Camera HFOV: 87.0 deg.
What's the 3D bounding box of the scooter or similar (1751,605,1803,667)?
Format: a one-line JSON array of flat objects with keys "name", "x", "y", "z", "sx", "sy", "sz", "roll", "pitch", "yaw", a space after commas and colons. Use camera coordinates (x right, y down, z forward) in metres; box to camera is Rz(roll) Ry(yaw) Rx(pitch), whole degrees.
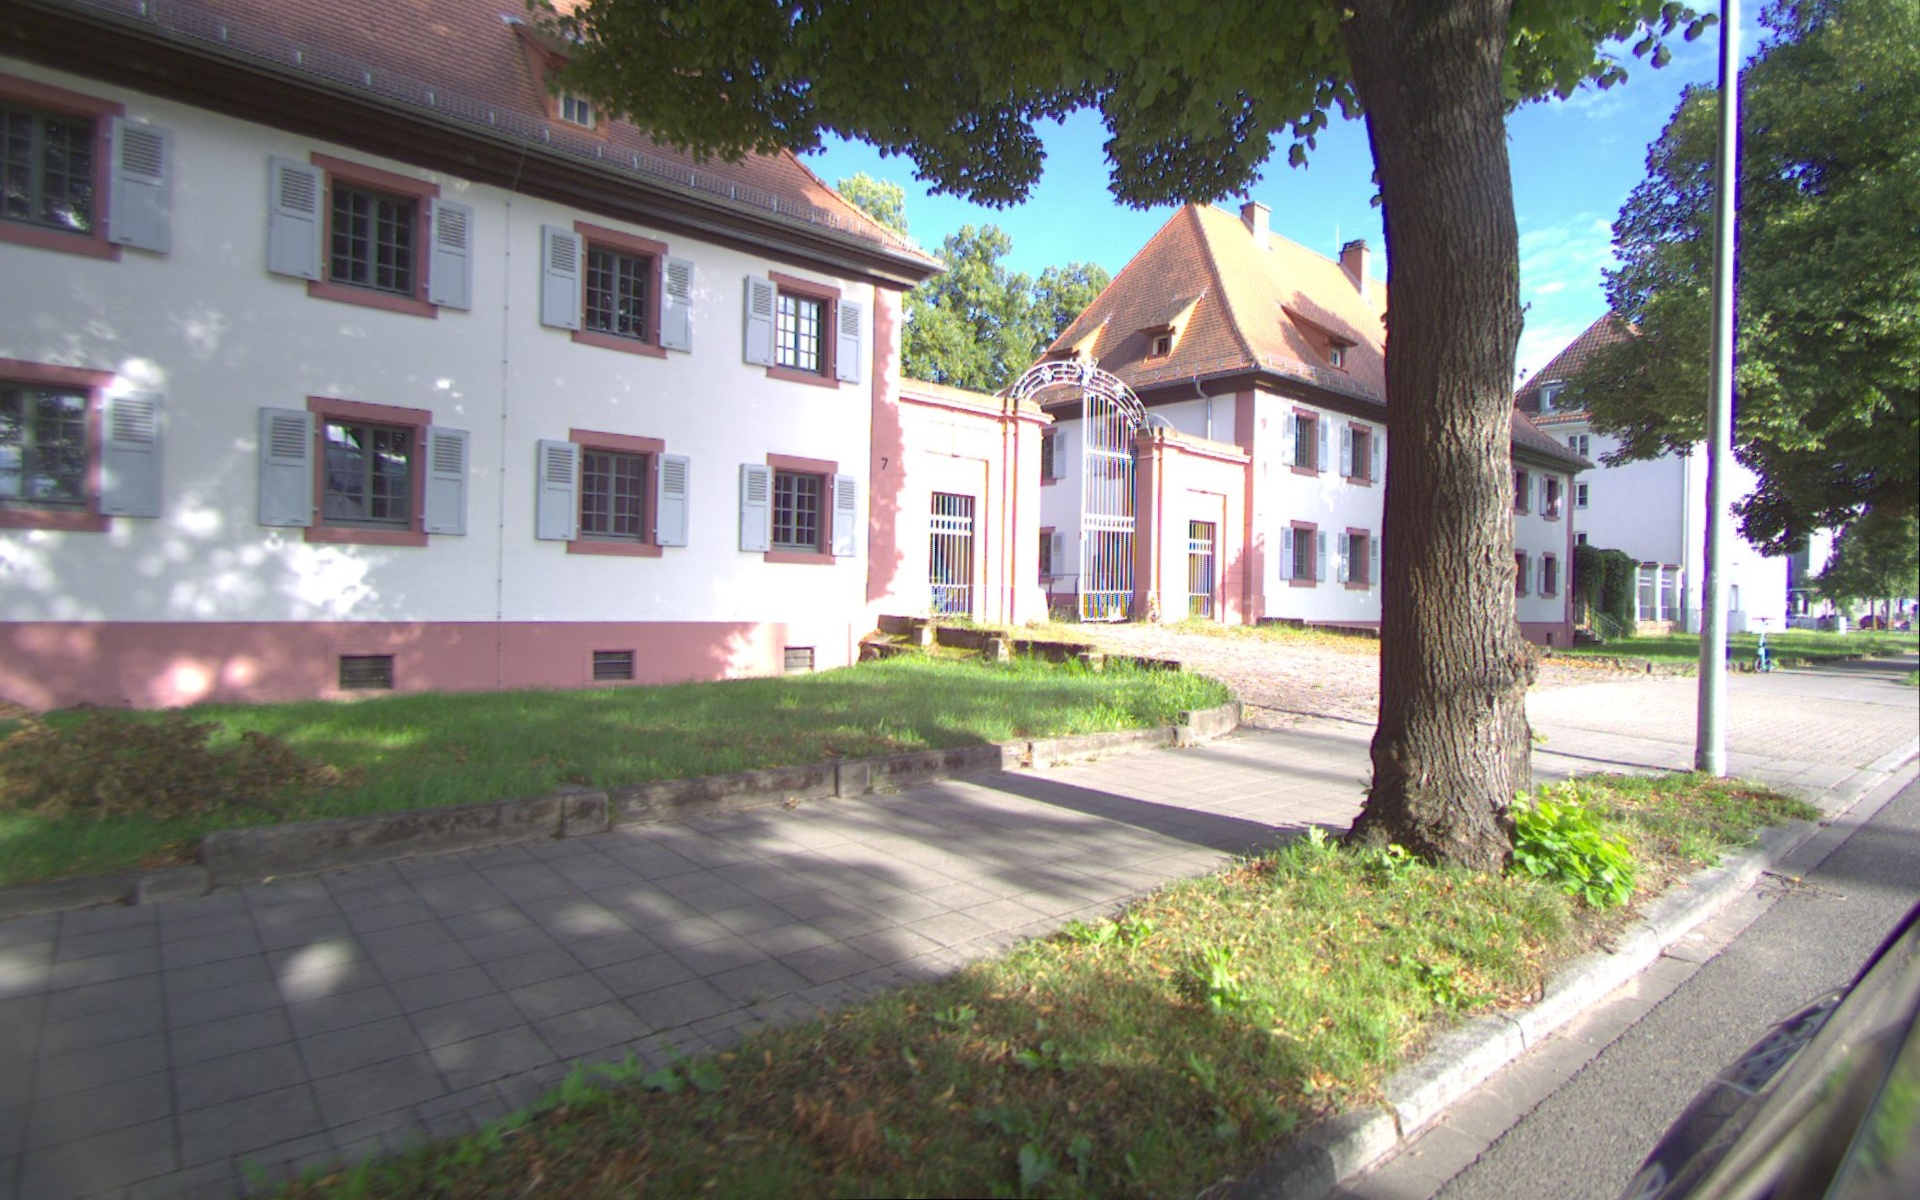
[{"name": "scooter or similar", "x": 18.142, "y": 0.784, "z": 22.475, "sx": 1.356, "sy": 1.307, "sz": 0.580, "roll": 1, "pitch": 2, "yaw": -39}]
